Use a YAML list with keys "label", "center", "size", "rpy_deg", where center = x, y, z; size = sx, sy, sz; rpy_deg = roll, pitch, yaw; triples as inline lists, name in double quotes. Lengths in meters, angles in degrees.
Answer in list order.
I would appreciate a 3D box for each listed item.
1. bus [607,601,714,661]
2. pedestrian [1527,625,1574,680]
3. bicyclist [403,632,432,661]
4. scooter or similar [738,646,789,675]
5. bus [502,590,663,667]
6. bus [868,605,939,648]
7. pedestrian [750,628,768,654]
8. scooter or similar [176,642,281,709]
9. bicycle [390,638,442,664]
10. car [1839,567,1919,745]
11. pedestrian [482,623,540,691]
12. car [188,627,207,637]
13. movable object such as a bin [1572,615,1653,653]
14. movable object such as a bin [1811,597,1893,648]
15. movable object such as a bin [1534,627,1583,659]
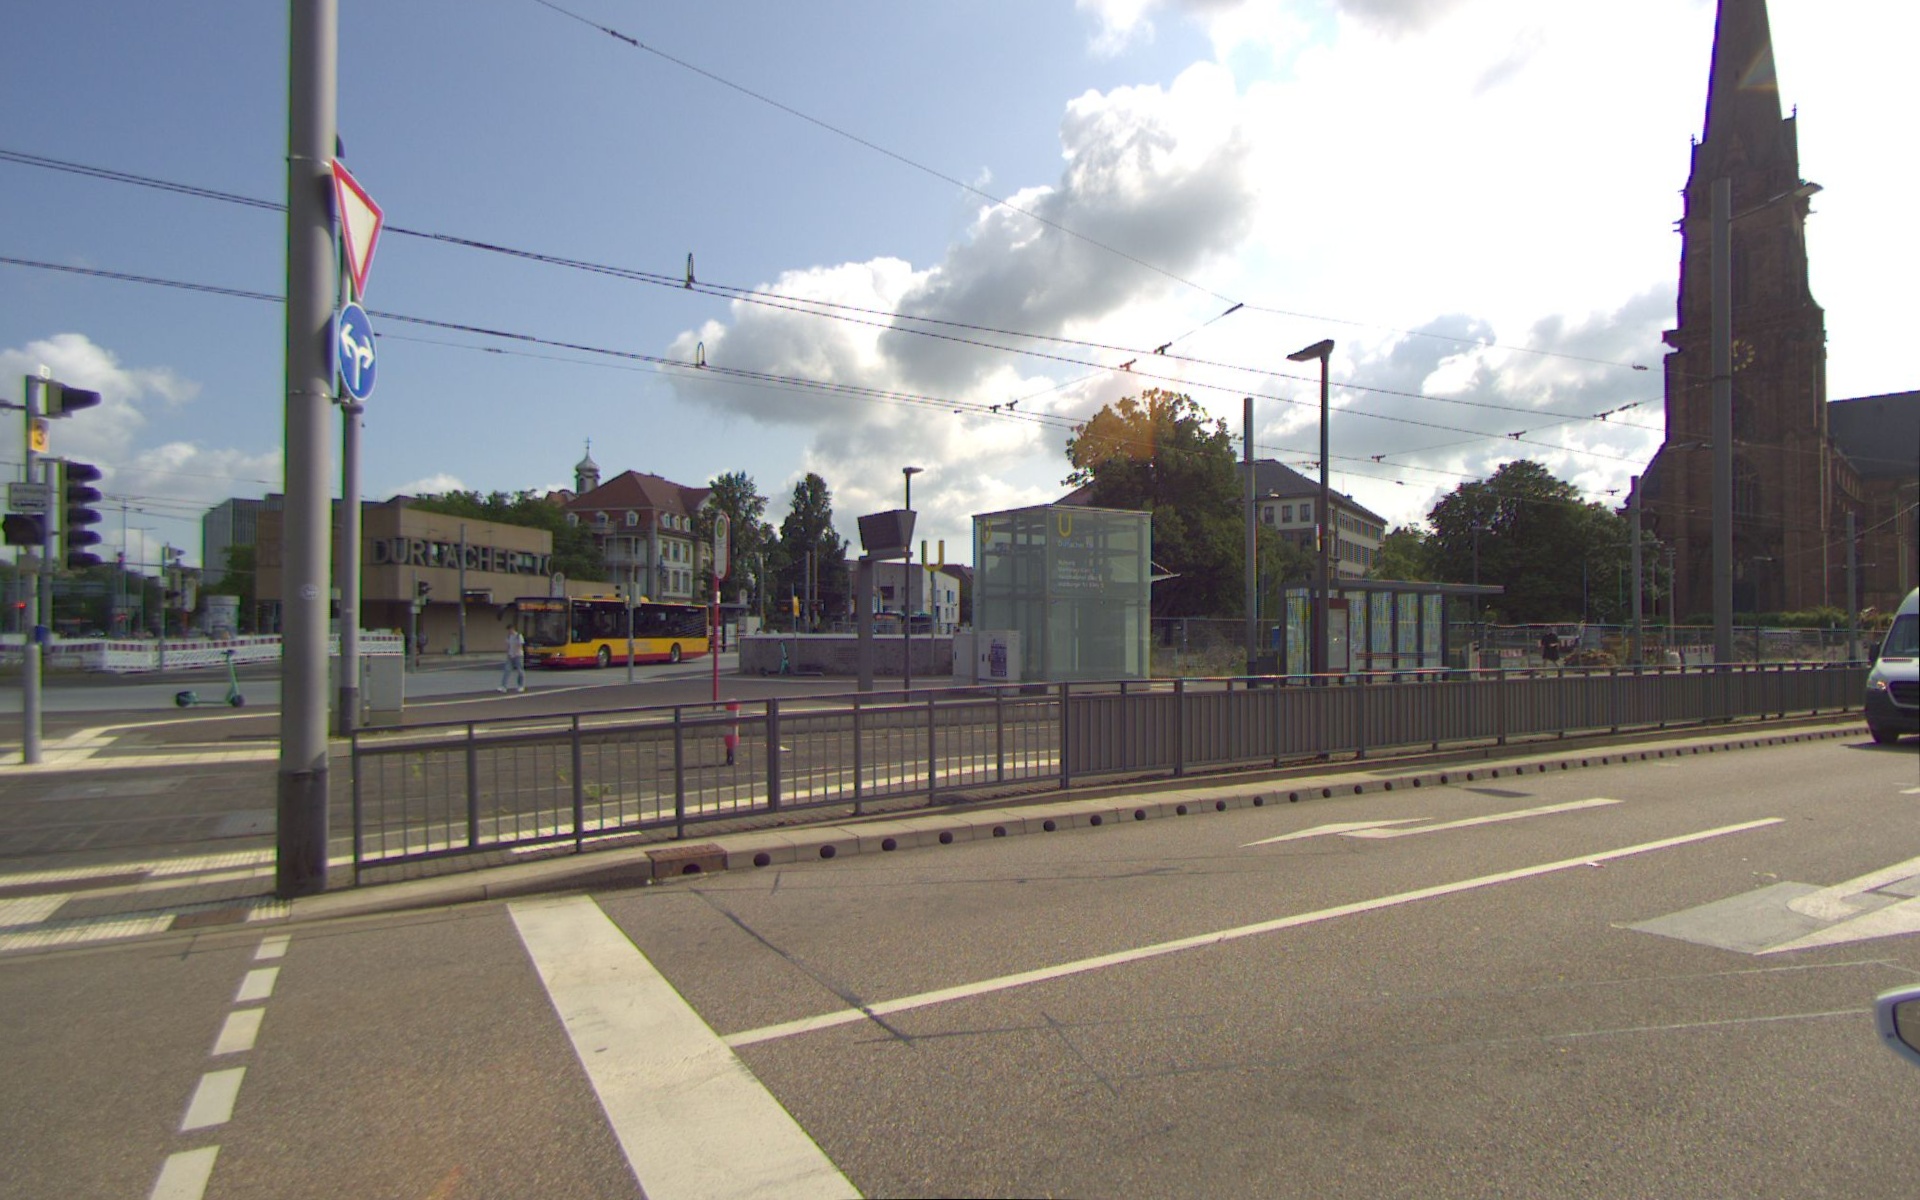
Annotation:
- label: "bus"
  center: [-13.862, 1.450, 46.879]
  size: [2.647, 2.621, 5.081]
  rpy_deg: [0, -2, 12]
- label: "pedestrian"
  center: [20.470, 1.807, 34.827]
  size: [1.032, 1.824, 0.994]
  rpy_deg: [-1, 1, -25]
- label: "bicyclist"
  center: [-23.775, 2.042, 43.998]
  size: [0.683, 1.167, 0.739]
  rpy_deg: [4, -4, 11]
- label: "scooter or similar"
  center: [-6.549, 2.008, 33.459]
  size: [1.630, 0.962, 0.474]
  rpy_deg: [0, -1, 13]
- label: "bus"
  center: [-15.127, 1.163, 40.920]
  size: [2.646, 2.871, 7.105]
  rpy_deg: [0, -2, 13]
- label: "bus"
  center: [-4.807, 2.386, 89.017]
  size: [2.905, 3.554, 12.262]
  rpy_deg: [0, -2, 13]
- label: "pedestrian"
  center: [-12.128, 2.491, 60.597]
  size: [0.794, 1.542, 0.840]
  rpy_deg: [1, -2, -43]
- label: "scooter or similar"
  center: [-14.896, 1.539, 20.532]
  size: [1.477, 1.204, 1.328]
  rpy_deg: [6, -2, -29]
- label: "bicycle"
  center: [-23.787, 2.255, 43.976]
  size: [0.796, 1.005, 2.072]
  rpy_deg: [4, -4, 11]
- label: "car"
  center: [16.705, 0.894, 16.397]
  size: [5.518, 2.656, 1.983]
  rpy_deg: [1, -3, -32]
- label: "pedestrian"
  center: [-11.784, 1.479, 26.409]
  size: [0.911, 1.712, 1.098]
  rpy_deg: [1, 0, 10]
- label: "car"
  center: [-118.928, 5.032, 156.689]
  size: [1.980, 1.589, 4.737]
  rpy_deg: [1, -2, -34]
- label: "movable object such as a bin"
  center: [50.417, 2.587, 77.718]
  size: [1.977, 2.839, 4.880]
  rpy_deg: [1, -2, -30]
- label: "movable object such as a bin"
  center: [68.503, 1.716, 77.121]
  size: [5.515, 3.780, 2.659]
  rpy_deg: [1, -1, -24]
- label: "movable object such as a bin"
  center: [43.171, 3.091, 72.461]
  size: [4.242, 2.235, 1.975]
  rpy_deg: [1, -2, -43]
